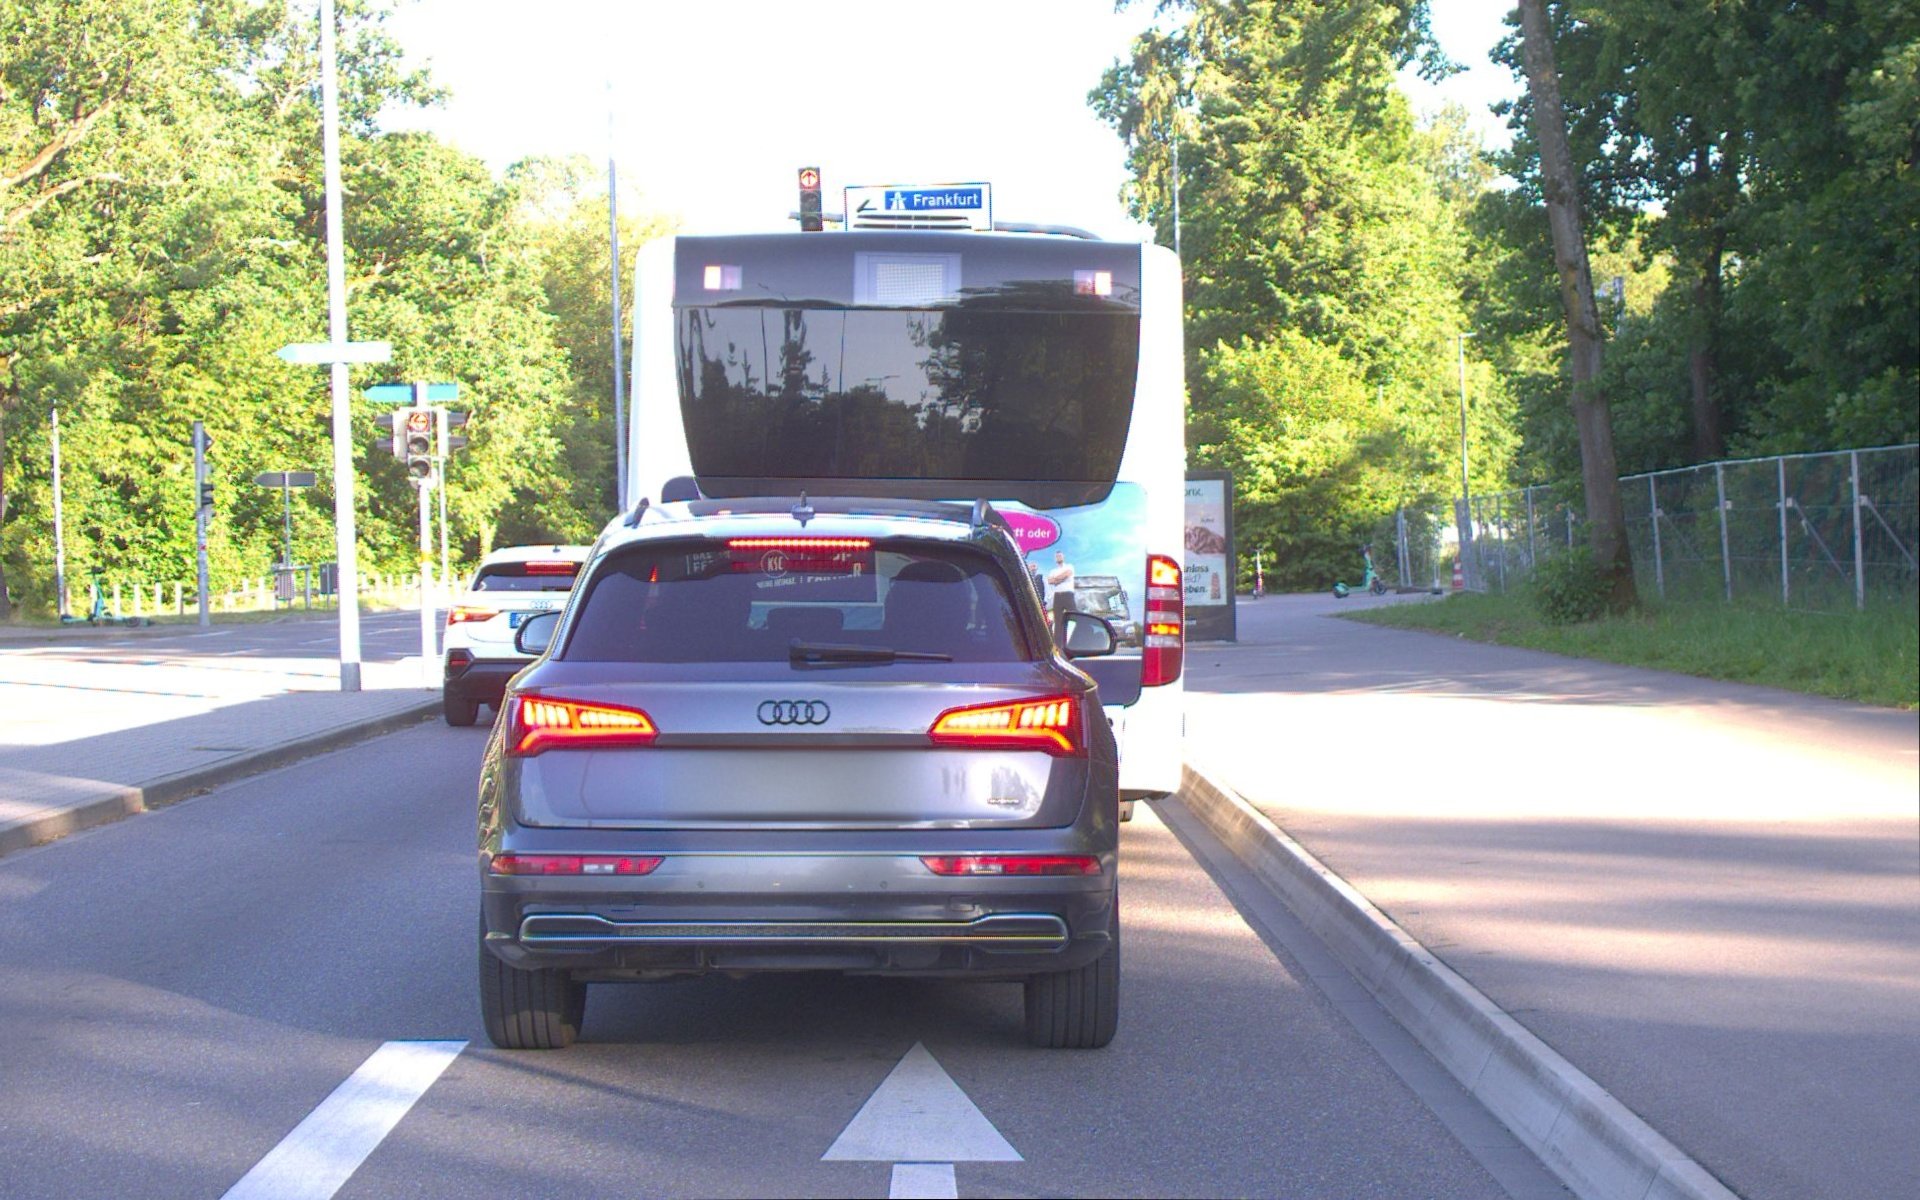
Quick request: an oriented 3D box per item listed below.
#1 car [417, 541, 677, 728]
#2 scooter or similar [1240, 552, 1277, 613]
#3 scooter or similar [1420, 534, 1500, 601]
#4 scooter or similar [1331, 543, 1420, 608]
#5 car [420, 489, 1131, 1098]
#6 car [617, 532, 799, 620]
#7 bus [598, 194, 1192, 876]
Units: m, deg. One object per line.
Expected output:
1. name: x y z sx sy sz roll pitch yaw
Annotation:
1. car: -3.574 0.252 30.379 1.836 1.513 4.000 -1 1 -1
2. scooter or similar: 7.249 -0.429 83.549 0.508 1.439 2.023 -2 1 -6
3. scooter or similar: 11.946 -0.768 82.212 0.539 1.562 2.021 -3 1 -40
4. scooter or similar: 9.779 -0.581 80.923 2.015 1.439 0.606 -2 1 -25
5. car: -0.519 0.487 11.232 1.898 1.626 4.000 0 1 -1
6. car: -4.614 -0.478 63.677 1.994 1.493 4.786 -2 1 13
7. bus: -0.338 -0.316 19.722 2.594 2.979 9.327 0 0 -1
